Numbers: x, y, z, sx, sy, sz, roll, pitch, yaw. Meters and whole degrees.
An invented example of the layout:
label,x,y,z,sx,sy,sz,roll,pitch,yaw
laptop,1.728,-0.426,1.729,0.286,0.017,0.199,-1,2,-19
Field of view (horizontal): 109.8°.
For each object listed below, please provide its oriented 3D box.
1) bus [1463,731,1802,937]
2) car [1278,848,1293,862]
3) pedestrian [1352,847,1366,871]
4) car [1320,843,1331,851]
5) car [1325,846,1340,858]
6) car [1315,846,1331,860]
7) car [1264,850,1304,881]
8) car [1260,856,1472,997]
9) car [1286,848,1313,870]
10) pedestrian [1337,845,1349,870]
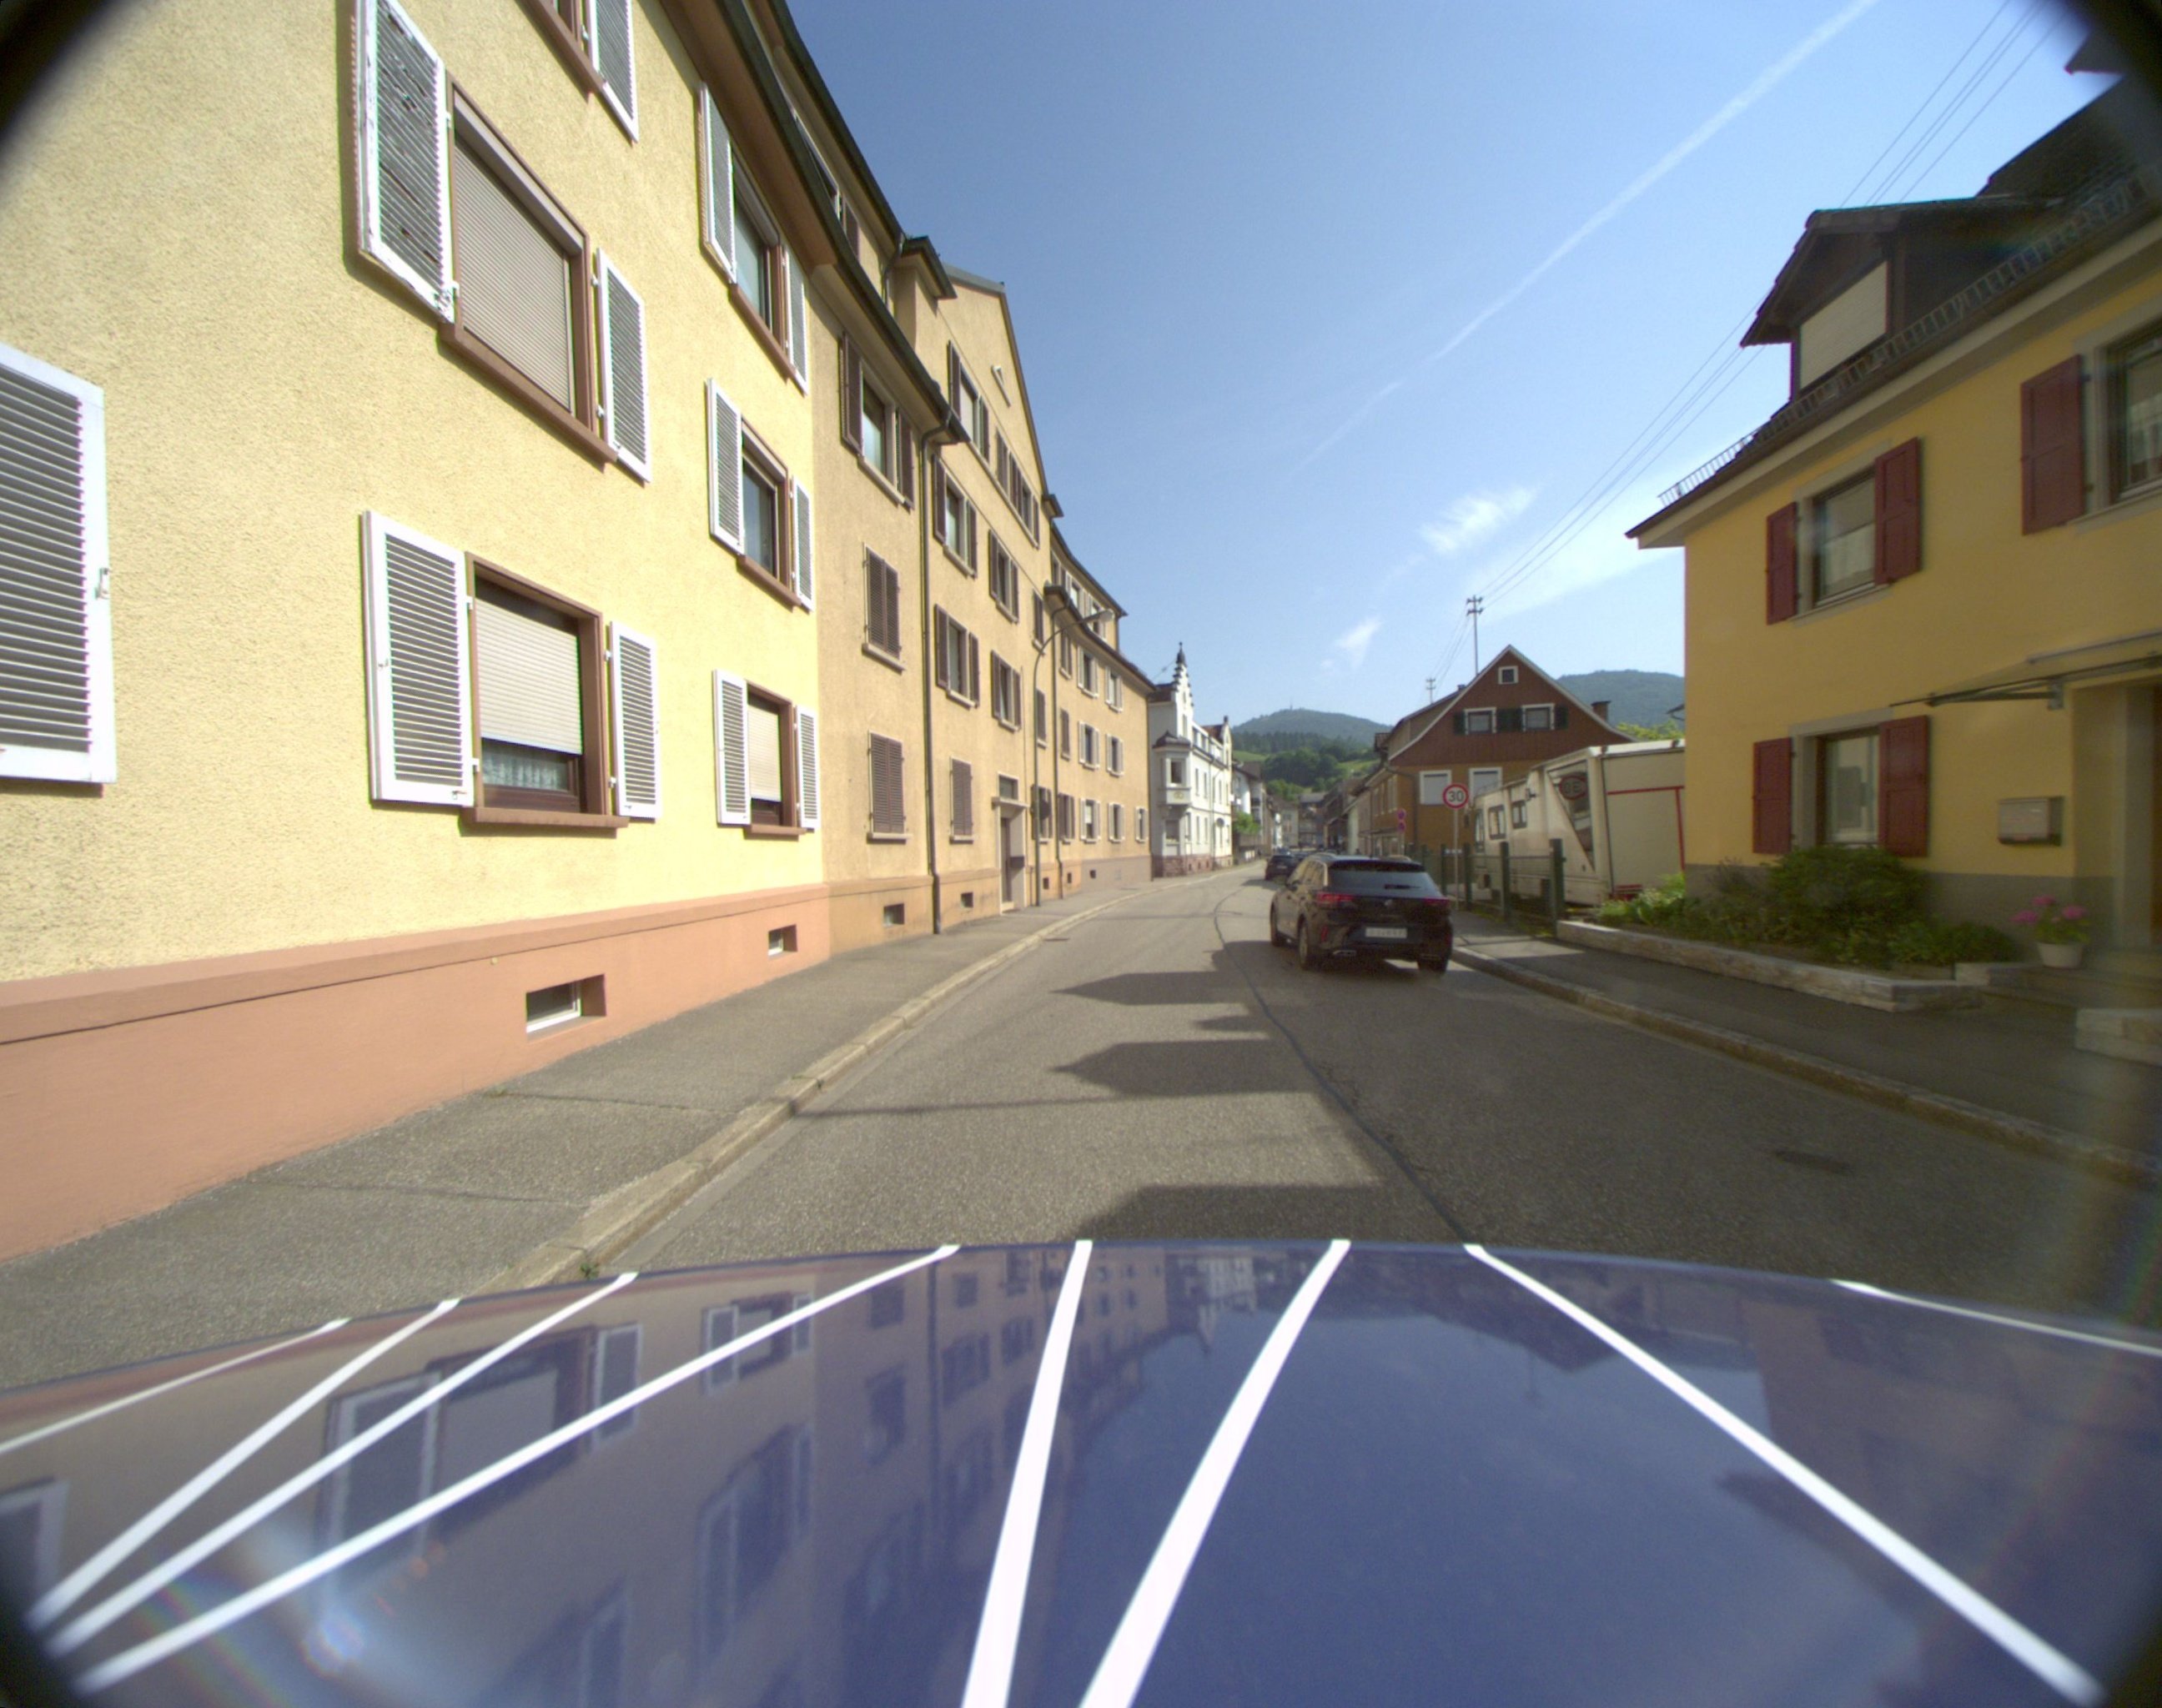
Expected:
label,x,y,z,sx,sy,sz,roll,pitch,yaw
bus,11.216,-0.329,16.901,2.824,3.209,9.045,-3,0,14
car,31.623,0.118,117.719,1.997,2.002,4.003,-2,1,13
pedestrian,18.141,0.334,49.552,0.736,1.555,0.825,-3,0,18
car,49.158,-1.386,152.790,1.785,1.566,3.893,-4,0,16
car,31.674,-0.211,95.844,1.668,1.423,3.573,-2,-1,17
car,32.010,-0.188,100.563,1.722,1.786,4.273,-1,1,14
car,10.857,0.567,40.427,1.660,1.441,4.264,2,1,19
car,3.806,0.844,10.921,1.827,1.528,4.002,3,1,6
car,16.012,0.338,55.905,1.749,1.445,4.031,3,2,15
pedestrian,17.185,0.222,49.840,0.640,1.617,0.778,-3,0,18
